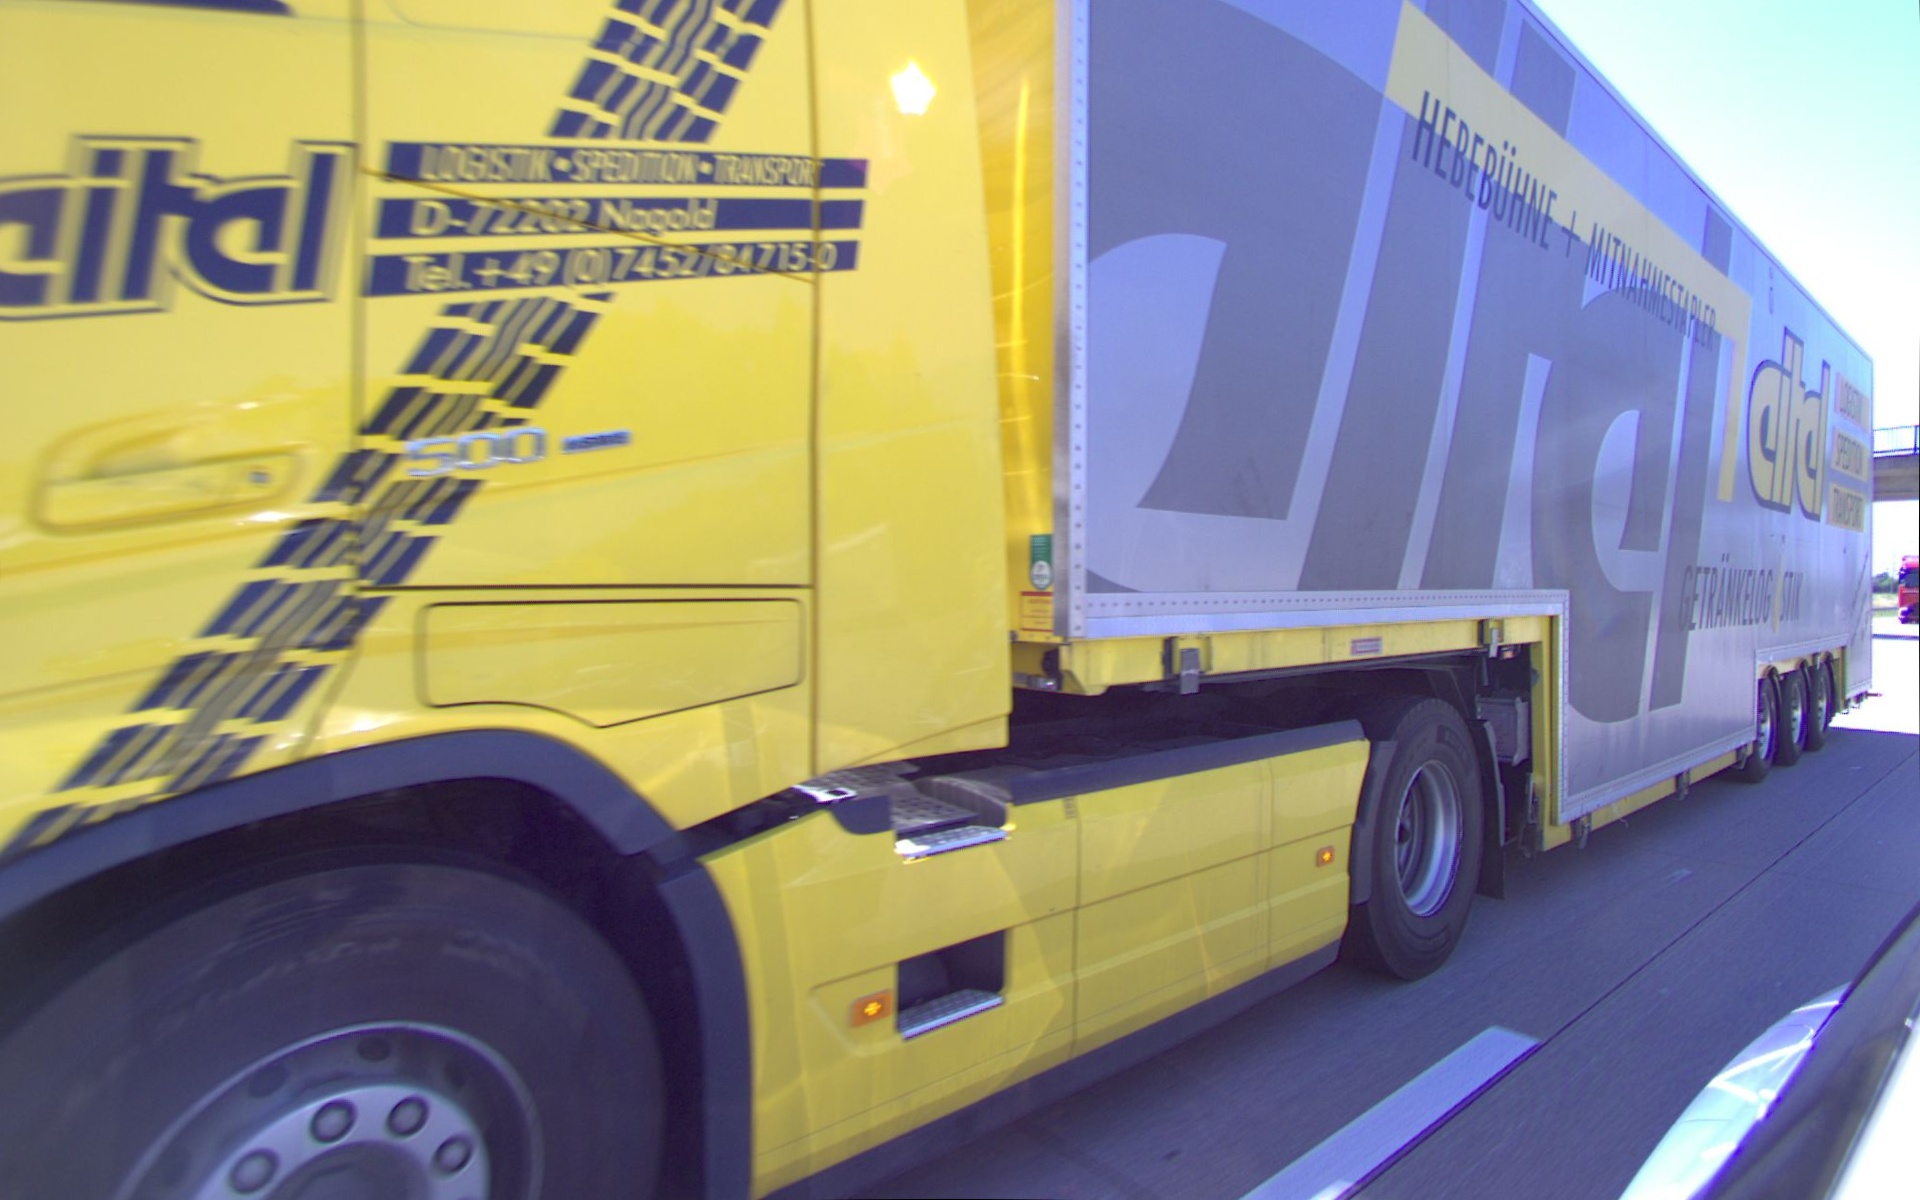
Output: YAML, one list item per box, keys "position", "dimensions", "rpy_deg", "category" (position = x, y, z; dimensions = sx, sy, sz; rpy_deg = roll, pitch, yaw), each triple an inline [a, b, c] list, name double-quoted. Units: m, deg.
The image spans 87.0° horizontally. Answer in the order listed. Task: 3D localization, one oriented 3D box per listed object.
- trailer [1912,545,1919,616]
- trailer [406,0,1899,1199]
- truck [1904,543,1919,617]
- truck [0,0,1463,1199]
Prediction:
- position: [62.574, -1.226, 63.348]
  dimensions: [13.569, 4.198, 2.957]
  rpy_deg: [-1, 0, -41]
  category: "trailer"
- position: [4.501, -0.779, 7.370]
  dimensions: [14.937, 4.308, 1.996]
  rpy_deg: [-1, 0, -42]
  category: "trailer"
- position: [57.797, -1.171, 59.274]
  dimensions: [6.044, 4.199, 2.958]
  rpy_deg: [-1, 0, -40]
  category: "truck"
- position: [-0.757, -0.780, 2.709]
  dimensions: [5.105, 4.308, 1.996]
  rpy_deg: [0, 0, -42]
  category: "truck"
